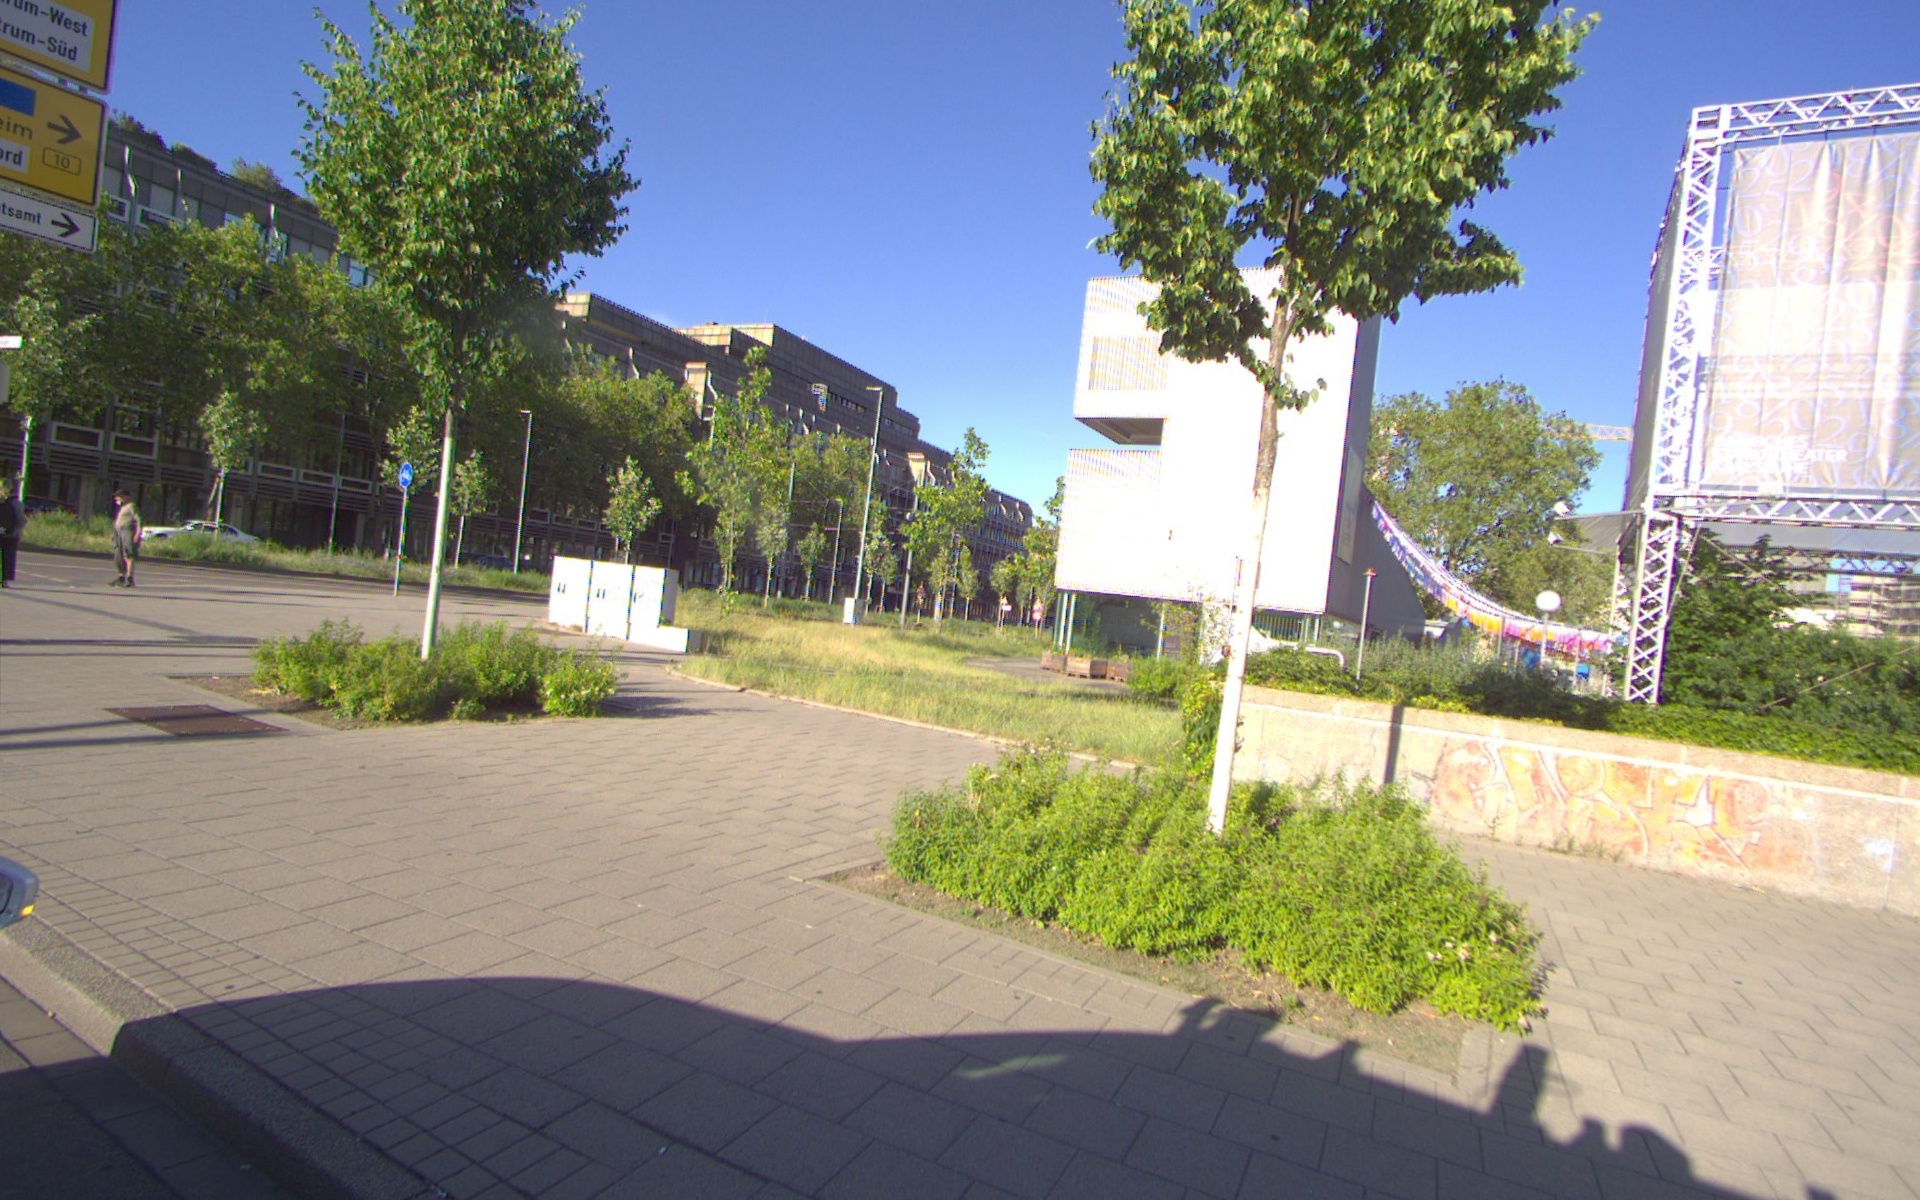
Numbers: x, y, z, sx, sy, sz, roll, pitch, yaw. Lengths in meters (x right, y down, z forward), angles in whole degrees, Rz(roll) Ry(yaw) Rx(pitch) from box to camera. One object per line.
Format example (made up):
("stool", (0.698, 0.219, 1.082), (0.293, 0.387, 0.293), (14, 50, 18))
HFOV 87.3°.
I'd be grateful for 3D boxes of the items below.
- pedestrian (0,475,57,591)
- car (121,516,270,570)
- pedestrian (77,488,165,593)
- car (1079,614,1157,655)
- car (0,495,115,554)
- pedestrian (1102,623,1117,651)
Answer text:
("pedestrian", (-14.171, -1.020, 14.955), (0.859, 1.634, 0.767), (7, 1, 30))
("car", (-33.791, -2.492, 44.613), (1.794, 1.704, 4.854), (7, -1, 28))
("pedestrian", (-14.996, -1.047, 17.995), (0.755, 1.728, 0.873), (7, 1, 30))
("car", (11.299, 2.477, 71.741), (5.661, 2.308, 1.874), (7, 0, -35))
("car", (-33.149, -2.769, 35.775), (1.792, 1.704, 4.302), (7, -1, 21))
("pedestrian", (9.095, 2.258, 61.183), (0.520, 1.571, 0.638), (7, -1, 31))
